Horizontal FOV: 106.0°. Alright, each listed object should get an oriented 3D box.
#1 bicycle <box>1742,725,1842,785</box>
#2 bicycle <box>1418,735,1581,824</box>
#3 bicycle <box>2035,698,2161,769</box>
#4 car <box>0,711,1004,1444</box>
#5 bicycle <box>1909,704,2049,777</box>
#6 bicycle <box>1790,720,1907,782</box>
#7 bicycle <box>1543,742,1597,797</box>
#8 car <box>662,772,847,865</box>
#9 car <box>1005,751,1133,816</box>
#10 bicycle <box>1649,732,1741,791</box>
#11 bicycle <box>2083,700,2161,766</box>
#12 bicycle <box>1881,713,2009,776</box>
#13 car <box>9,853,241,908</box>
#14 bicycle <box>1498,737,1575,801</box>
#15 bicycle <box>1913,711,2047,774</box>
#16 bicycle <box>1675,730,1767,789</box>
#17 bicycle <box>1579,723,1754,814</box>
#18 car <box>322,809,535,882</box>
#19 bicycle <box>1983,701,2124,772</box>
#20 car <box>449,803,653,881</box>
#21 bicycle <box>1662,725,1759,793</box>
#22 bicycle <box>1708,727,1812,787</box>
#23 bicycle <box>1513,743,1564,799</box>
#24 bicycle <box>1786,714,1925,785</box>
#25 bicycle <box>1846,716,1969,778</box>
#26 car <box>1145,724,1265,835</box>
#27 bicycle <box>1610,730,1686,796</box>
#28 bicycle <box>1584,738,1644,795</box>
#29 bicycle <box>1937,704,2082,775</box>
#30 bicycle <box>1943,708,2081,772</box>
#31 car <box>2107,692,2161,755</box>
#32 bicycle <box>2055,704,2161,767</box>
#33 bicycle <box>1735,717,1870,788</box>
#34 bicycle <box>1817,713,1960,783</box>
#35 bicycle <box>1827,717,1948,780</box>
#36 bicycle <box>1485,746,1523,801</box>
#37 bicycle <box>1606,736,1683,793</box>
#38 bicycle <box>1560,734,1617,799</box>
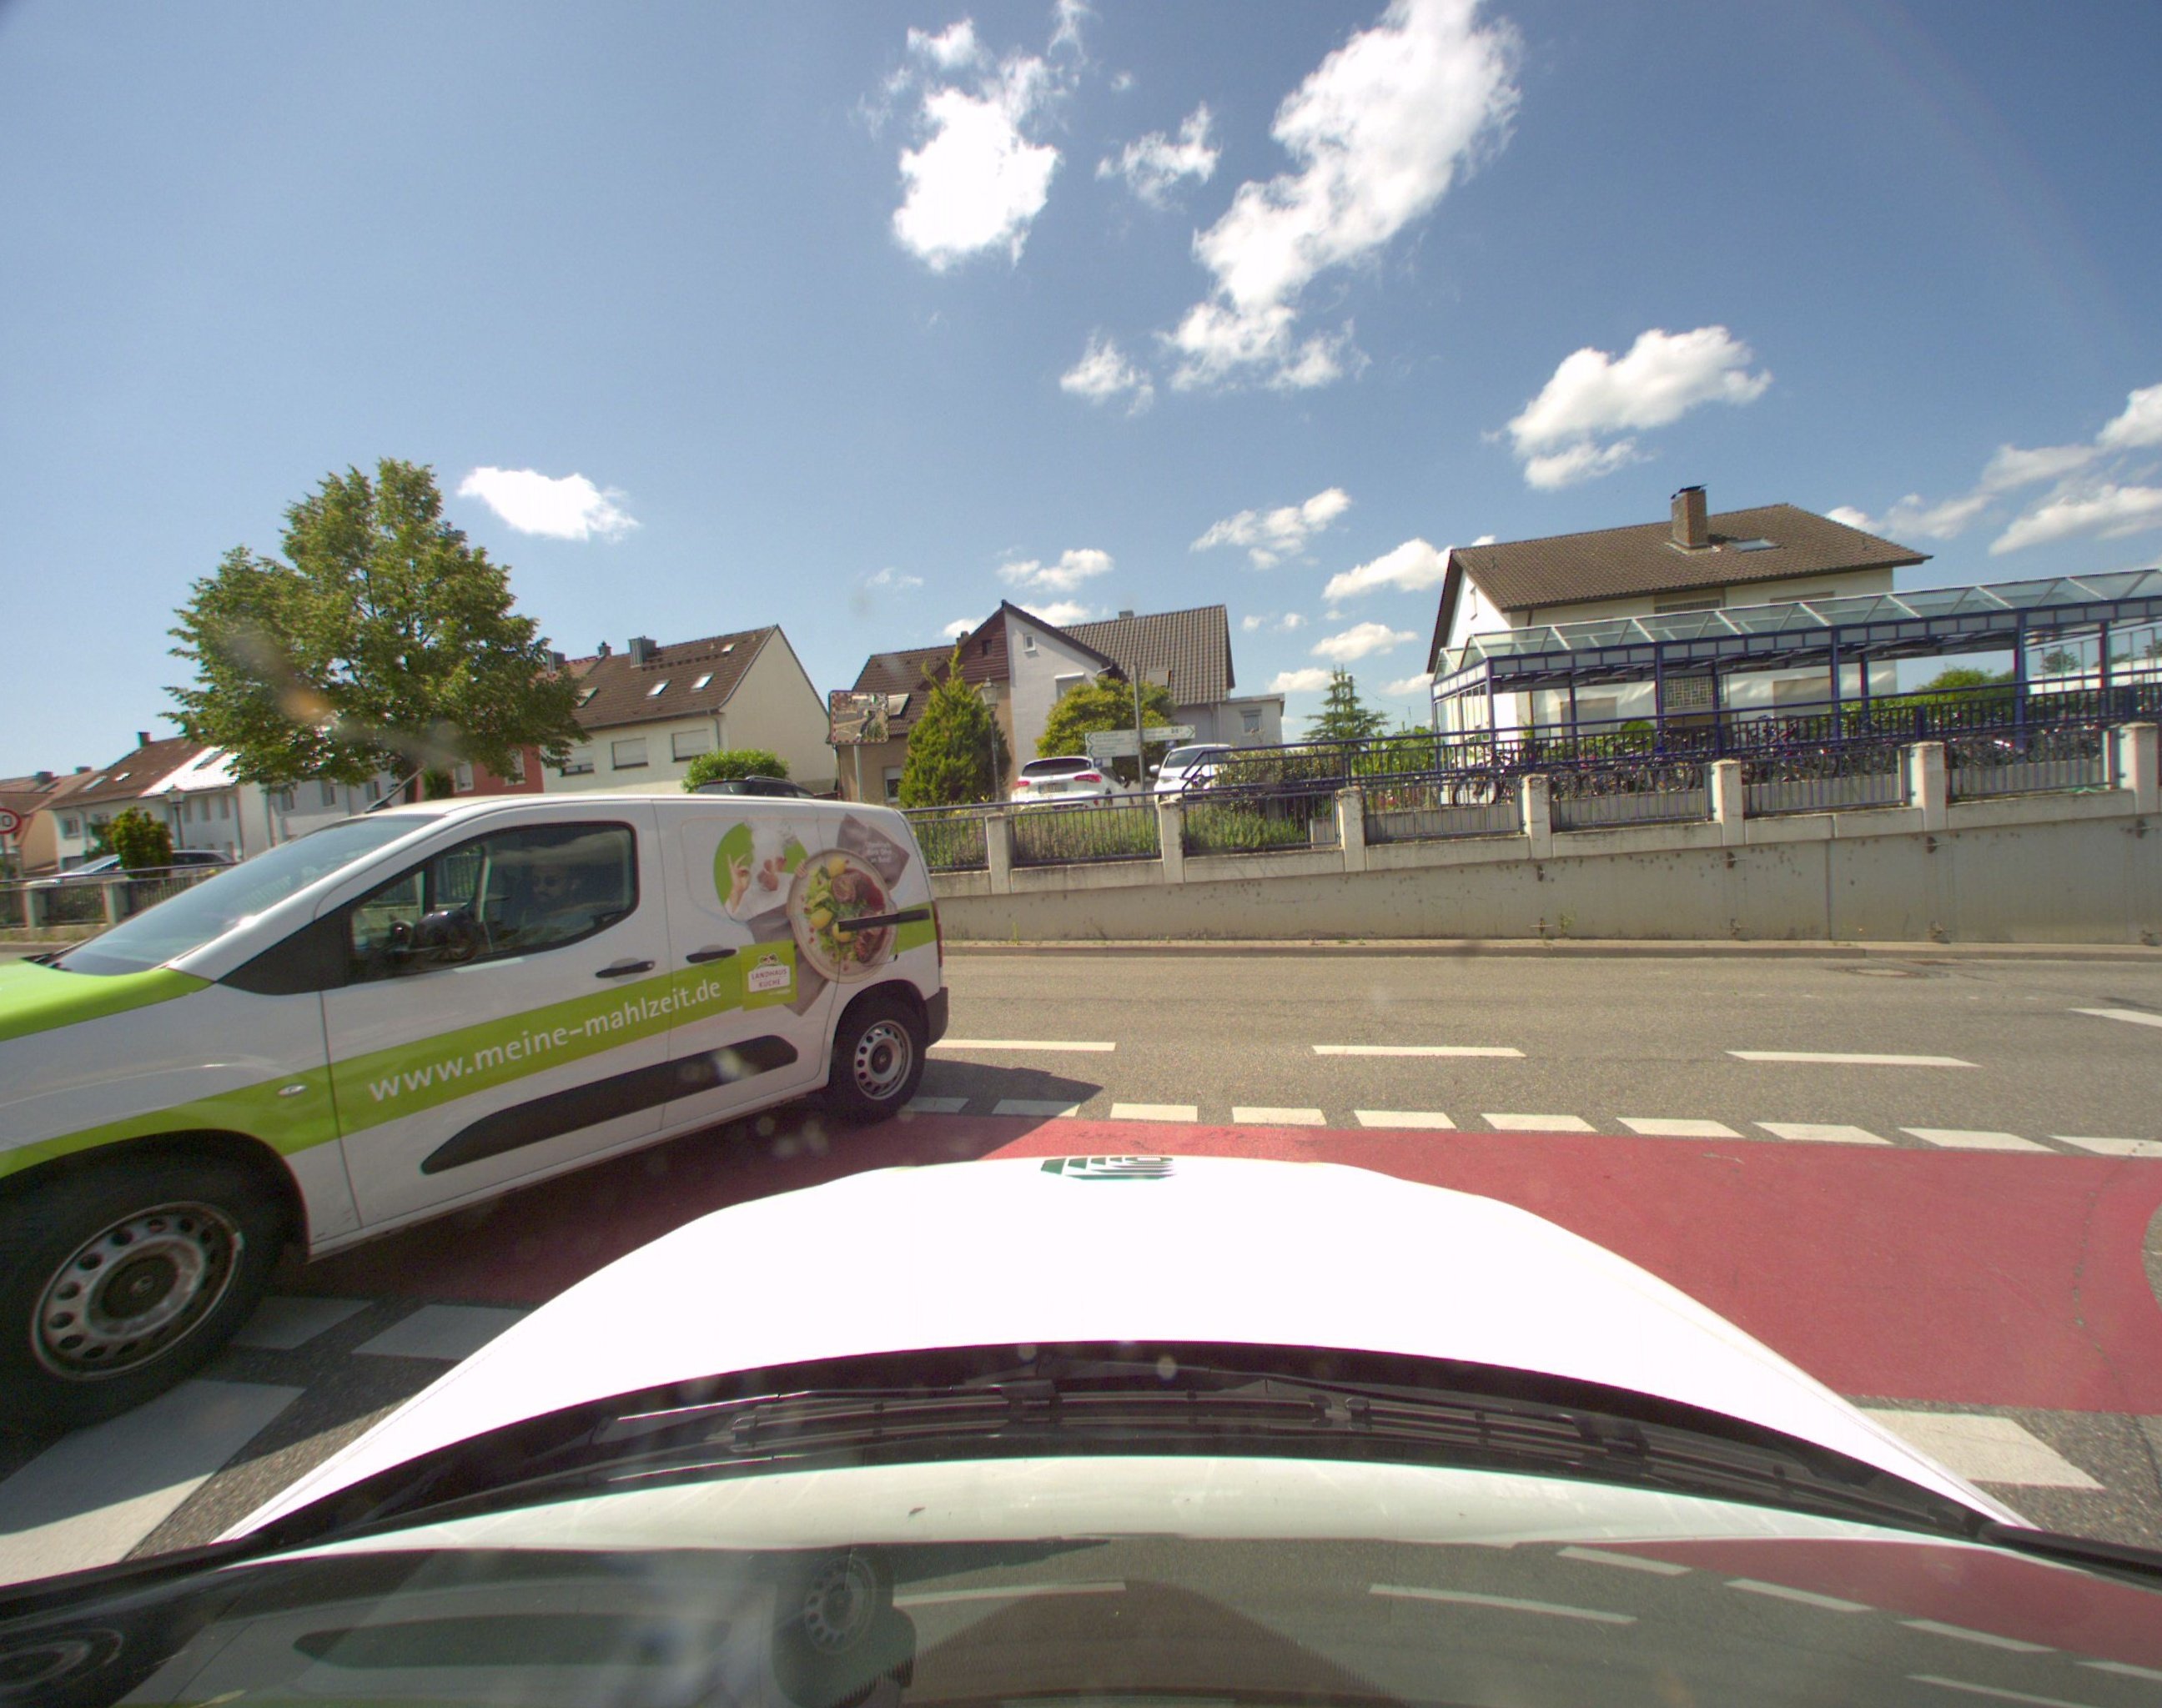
[{"bbox_3d":[13.829,-1.897,15.903,0.516,0.994,1.805,-3,2,6],"label":"bicycle"},{"bbox_3d":[6.043,-1.064,11.800,2.105,1.125,0.333,-3,2,5],"label":"bicycle"},{"bbox_3d":[16.896,-1.953,13.391,0.512,0.994,2.048,-3,2,15],"label":"bicycle"},{"bbox_3d":[-2.538,0.520,3.918,1.794,1.854,4.589,1,2,34],"label":"car"},{"bbox_3d":[14.698,-1.814,13.411,0.574,0.994,2.199,-3,3,20],"label":"bicycle"},{"bbox_3d":[14.531,-1.924,15.488,0.516,0.994,1.969,-3,2,6],"label":"bicycle"},{"bbox_3d":[9.802,-1.661,16.381,0.370,0.994,1.974,-3,2,15],"label":"bicycle"},{"bbox_3d":[-6.956,-0.722,17.867,1.855,1.797,4.013,0,1,11],"label":"car"},{"bbox_3d":[-0.120,-1.317,16.104,1.813,1.019,3.470,0,1,11],"label":"car"},{"bbox_3d":[11.968,-1.781,15.954,0.471,0.994,1.969,-3,2,6],"label":"bicycle"},{"bbox_3d":[17.710,-2.003,13.347,0.539,0.994,2.048,-3,2,15],"label":"bicycle"},{"bbox_3d":[16.453,-2.051,15.587,0.516,0.994,1.969,-3,2,6],"label":"bicycle"},{"bbox_3d":[-29.225,0.742,25.112,1.728,1.488,4.276,0,1,18],"label":"car"},{"bbox_3d":[8.002,-1.462,14.386,0.330,0.994,2.079,-3,2,5],"label":"bicycle"},{"bbox_3d":[17.032,-2.084,15.498,0.516,0.994,1.969,-3,2,6],"label":"bicycle"},{"bbox_3d":[12.438,-1.808,15.892,0.412,0.994,1.969,-3,2,6],"label":"bicycle"},{"bbox_3d":[8.330,-1.202,11.620,2.105,1.125,0.393,-3,2,5],"label":"bicycle"},{"bbox_3d":[-15.511,-0.214,19.613,1.855,1.586,3.621,0,1,11],"label":"car"},{"bbox_3d":[16.185,-1.918,13.627,0.511,0.994,2.049,-3,2,19],"label":"bicycle"},{"bbox_3d":[-11.874,-0.280,18.548,1.855,1.586,3.621,0,1,11],"label":"car"},{"bbox_3d":[10.777,-1.591,14.034,0.432,0.994,2.290,-3,2,14],"label":"bicycle"},{"bbox_3d":[13.149,-1.851,15.847,0.516,0.994,1.969,-3,2,6],"label":"bicycle"},{"bbox_3d":[9.002,-1.597,16.073,0.370,0.994,1.974,-3,2,15],"label":"bicycle"},{"bbox_3d":[13.083,-1.730,13.856,0.529,0.994,2.194,-3,2,8],"label":"bicycle"},{"bbox_3d":[15.852,-2.017,15.691,0.516,0.994,1.969,-3,2,6],"label":"bicycle"},{"bbox_3d":[2.473,-1.274,15.633,1.980,1.797,4.210,0,1,11],"label":"car"},{"bbox_3d":[9.645,-1.514,13.923,0.432,0.994,2.112,-3,2,18],"label":"bicycle"},{"bbox_3d":[10.496,-1.693,16.101,0.370,0.994,1.974,-3,2,15],"label":"bicycle"},{"bbox_3d":[15.487,-1.875,13.663,0.512,0.994,2.047,-3,2,13],"label":"bicycle"},{"bbox_3d":[17.577,-2.116,15.443,0.516,0.994,1.969,-3,2,6],"label":"bicycle"},{"bbox_3d":[31.909,-3.817,22.564,1.986,1.677,4.003,-4,2,2],"label":"car"},{"bbox_3d":[19.392,-2.184,15.119,0.540,0.994,2.046,-3,2,12],"label":"bicycle"},{"bbox_3d":[12.095,-1.663,13.765,0.529,0.994,2.287,-3,2,8],"label":"bicycle"},{"bbox_3d":[13.793,-1.781,14.008,0.529,0.994,2.194,-3,2,8],"label":"bicycle"},{"bbox_3d":[15.267,-1.971,15.490,0.516,0.994,1.969,-3,2,6],"label":"bicycle"},{"bbox_3d":[8.300,-1.549,16.014,0.451,0.994,1.899,-3,3,22],"label":"bicycle"},{"bbox_3d":[11.148,-1.738,16.179,0.423,0.994,1.971,-3,2,9],"label":"bicycle"},{"bbox_3d":[8.611,-1.446,13.871,0.431,0.994,2.114,-3,3,22],"label":"bicycle"}]
